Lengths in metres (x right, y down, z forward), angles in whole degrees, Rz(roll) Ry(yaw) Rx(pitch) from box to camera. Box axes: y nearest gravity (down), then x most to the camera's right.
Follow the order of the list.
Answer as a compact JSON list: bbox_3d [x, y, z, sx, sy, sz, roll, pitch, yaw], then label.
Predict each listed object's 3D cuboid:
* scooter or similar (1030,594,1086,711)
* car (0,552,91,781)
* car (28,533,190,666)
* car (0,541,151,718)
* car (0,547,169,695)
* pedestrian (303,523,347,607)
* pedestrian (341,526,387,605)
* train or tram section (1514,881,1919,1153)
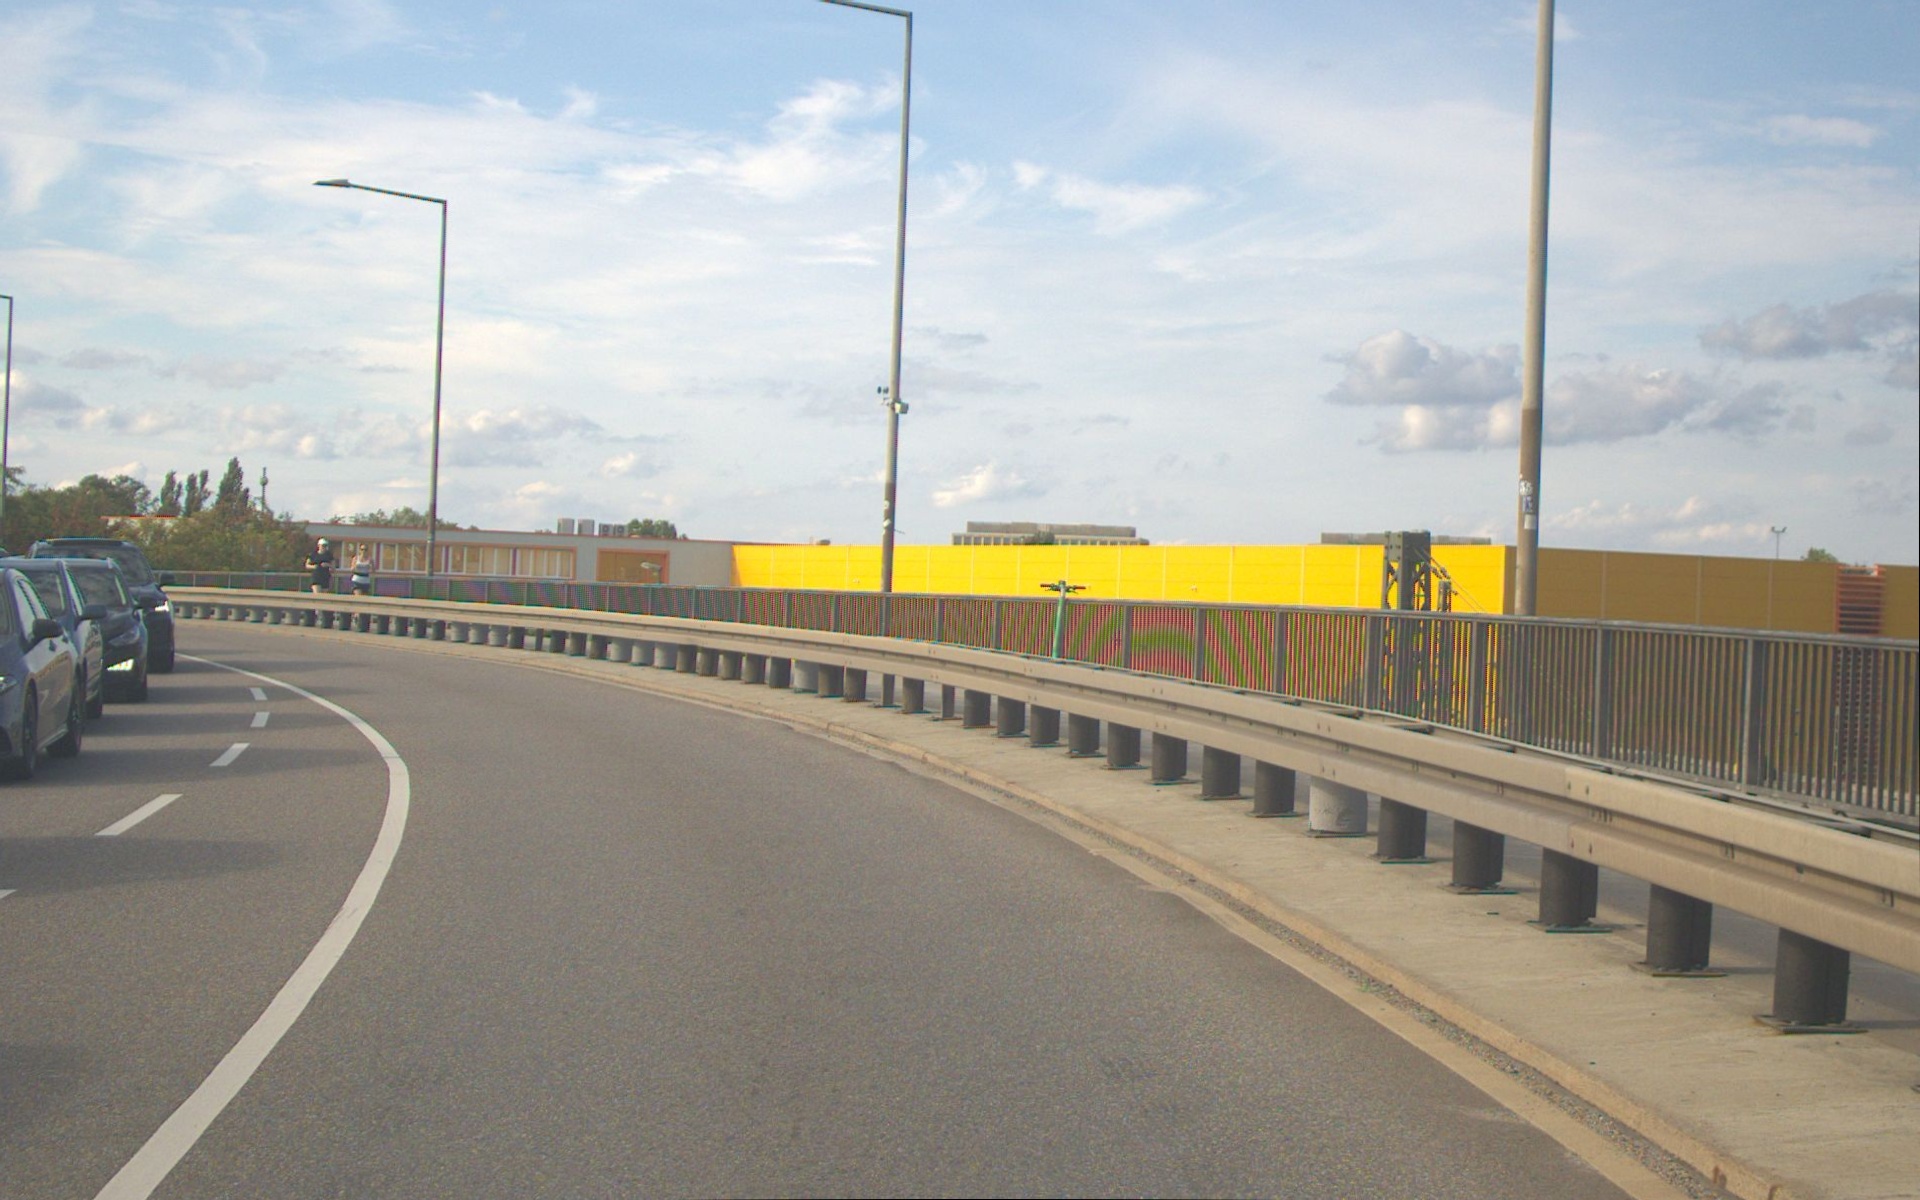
[{"bbox_3d":[0.989,0.526,34.852,0.265,1.158,1.189,0,0,-13],"label":"scooter or similar"},{"bbox_3d":[-7.164,0.394,23.808,1.812,1.452,4.326,0,1,-9],"label":"car"},{"bbox_3d":[-11.390,-0.039,45.844,1.829,1.666,4.868,0,1,-17],"label":"car"},{"bbox_3d":[-8.235,0.218,31.004,1.759,1.484,4.392,0,1,-14],"label":"car"},{"bbox_3d":[-9.423,0.187,36.848,1.759,1.484,4.447,0,1,-14],"label":"car"},{"bbox_3d":[-12.550,-0.687,67.918,0.676,1.656,0.865,0,0,-24],"label":"pedestrian"},{"bbox_3d":[-11.838,-0.683,68.274,0.676,1.538,0.961,0,0,-24],"label":"pedestrian"},{"bbox_3d":[19.391,8.417,71.813,16.691,4.696,3.097,0,0,-26],"label":"train or tram section"}]
